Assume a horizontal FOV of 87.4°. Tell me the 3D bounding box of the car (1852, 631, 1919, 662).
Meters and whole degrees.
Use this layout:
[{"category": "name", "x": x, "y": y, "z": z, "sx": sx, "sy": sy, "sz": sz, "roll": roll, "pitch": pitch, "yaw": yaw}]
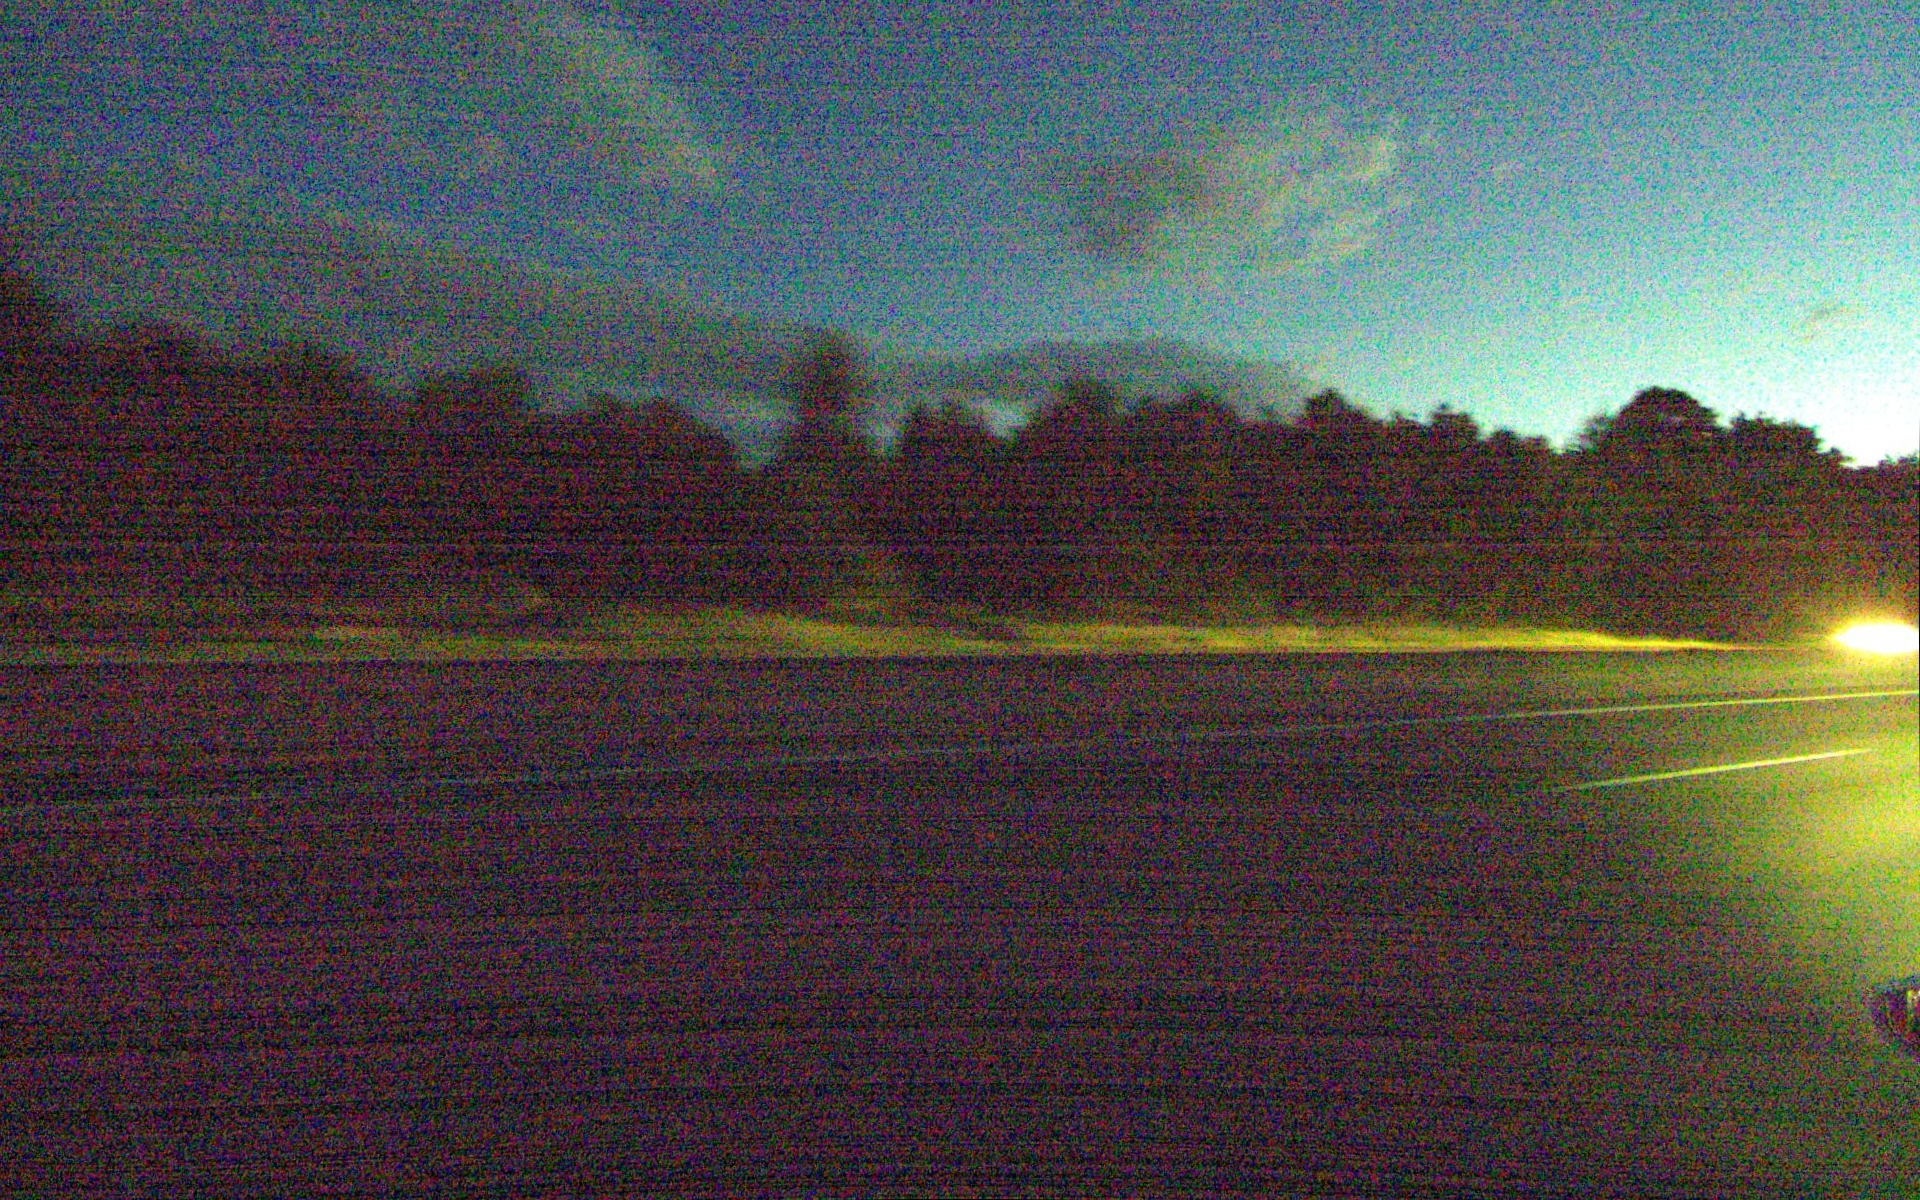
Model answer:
[{"category": "car", "x": 51.057, "y": 2.543, "z": 54.960, "sx": 4.347, "sy": 1.528, "sz": 1.985, "roll": 2, "pitch": -1, "yaw": -29}]
